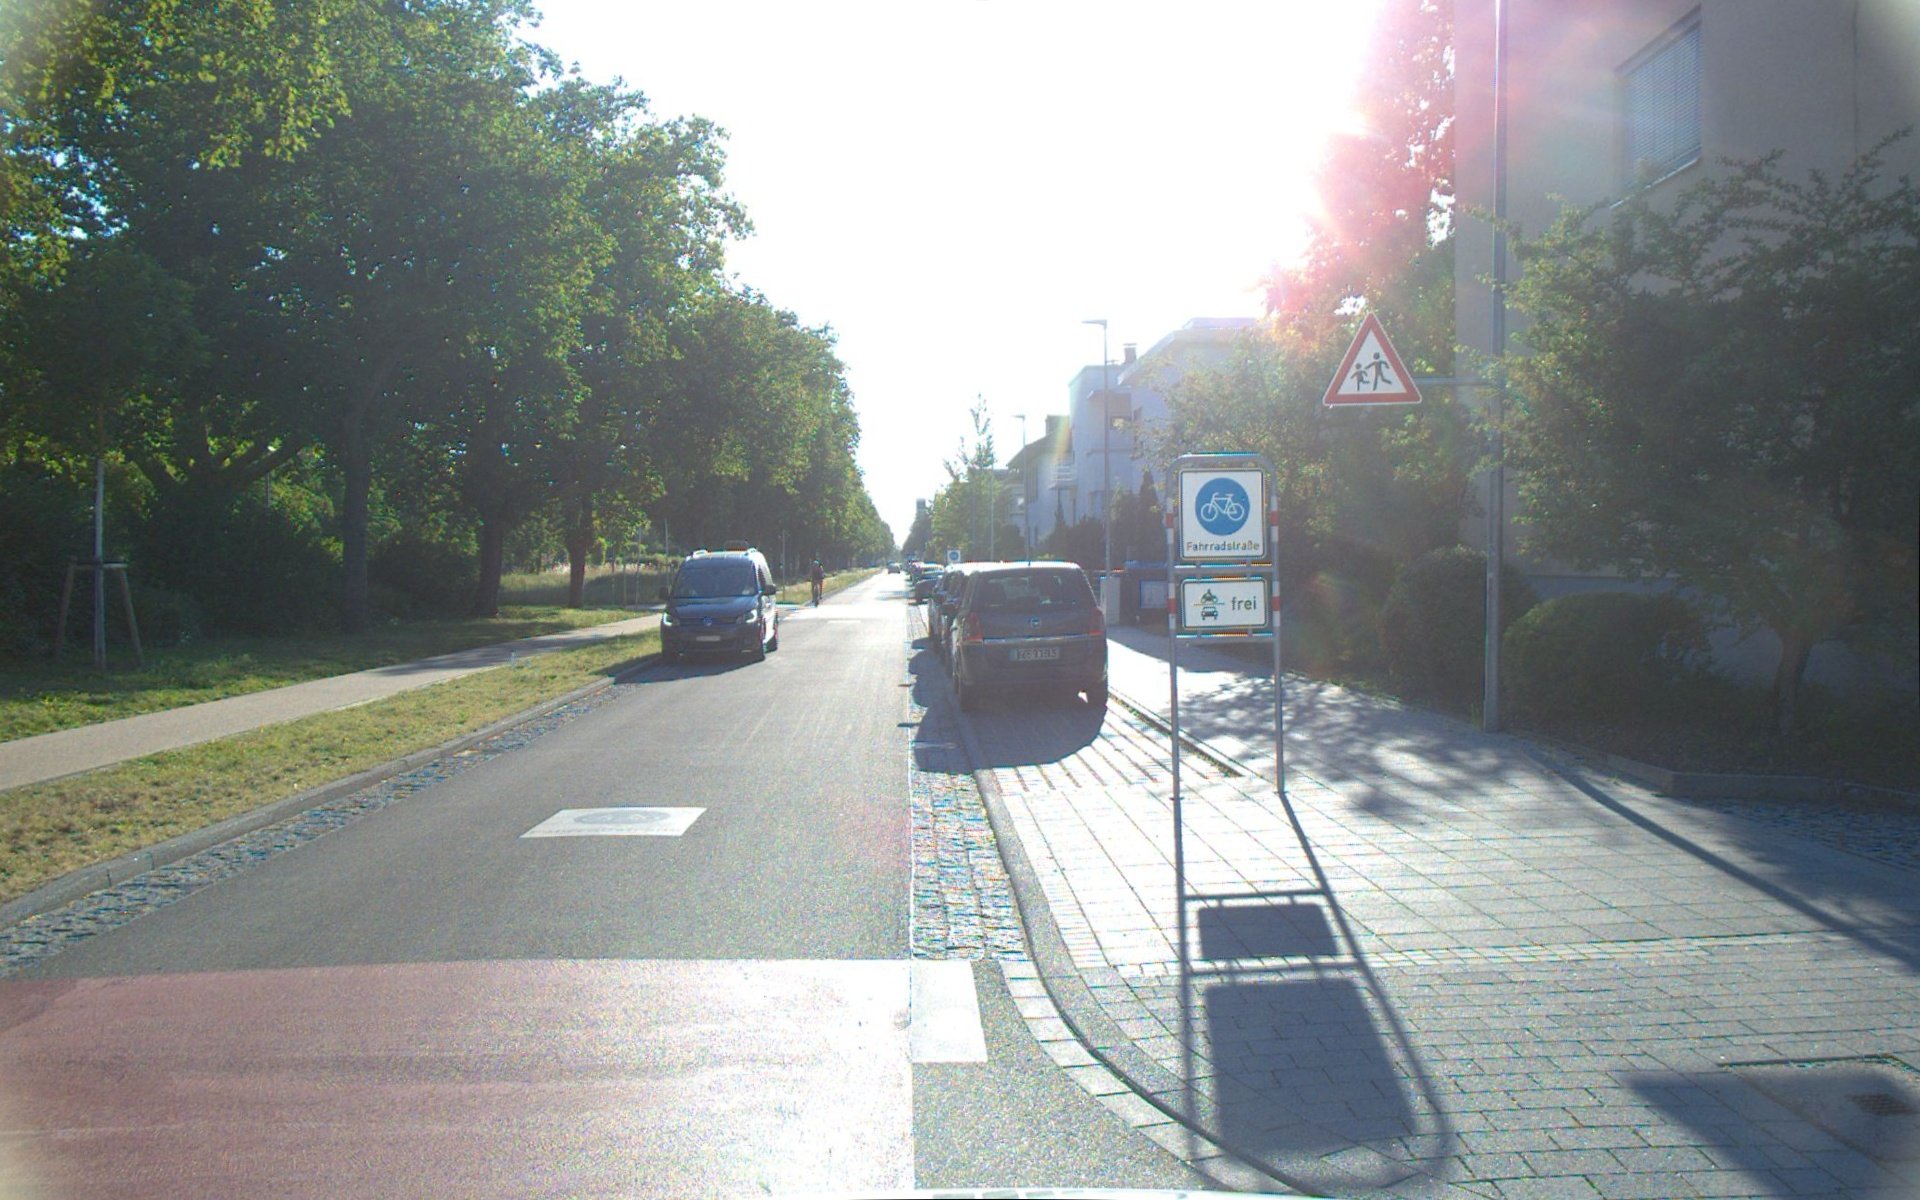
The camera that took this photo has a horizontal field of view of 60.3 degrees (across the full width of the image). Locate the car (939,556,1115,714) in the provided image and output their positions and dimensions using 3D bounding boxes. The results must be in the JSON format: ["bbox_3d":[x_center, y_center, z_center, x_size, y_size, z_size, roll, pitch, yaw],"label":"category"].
[{"bbox_3d":[0.705,0.329,20.022,1.676,1.638,4.166,-3,1,-3],"label":"car"}]

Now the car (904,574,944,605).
[{"bbox_3d":[-1.622,-0.474,73.444,1.739,1.311,4.271,0,1,-2],"label":"car"}]

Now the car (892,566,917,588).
[{"bbox_3d":[-4.038,-1.673,120.703,1.702,1.474,4.195,-2,1,-3],"label":"car"}]

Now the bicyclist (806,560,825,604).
[{"bbox_3d":[-5.684,-0.691,65.083,0.668,1.702,1.172,-1,0,-2],"label":"bicyclist"}]

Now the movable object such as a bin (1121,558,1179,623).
[{"bbox_3d":[4.348,-0.224,37.954,1.212,1.457,1.123,0,1,0],"label":"movable object such as a bin"}]

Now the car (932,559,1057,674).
[{"bbox_3d":[0.456,0.191,25.671,1.645,1.582,4.143,-2,1,-2],"label":"car"}]

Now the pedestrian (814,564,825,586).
[{"bbox_3d":[-10.543,-1.851,124.058,0.767,1.642,0.952,0,1,1],"label":"pedestrian"}]

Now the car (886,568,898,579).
[{"bbox_3d":[-9.760,-3.749,237.231,1.619,1.568,3.265,1,1,-2],"label":"car"}]

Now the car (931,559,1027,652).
[{"bbox_3d":[0.299,0.047,31.259,1.644,1.582,4.130,-2,1,-1],"label":"car"}]

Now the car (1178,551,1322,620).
[{"bbox_3d":[7.175,-0.371,41.150,3.419,1.670,1.644,0,1,6],"label":"car"}]

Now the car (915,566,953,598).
[{"bbox_3d":[-1.362,-0.944,84.625,1.710,1.499,3.920,-3,1,-3],"label":"car"}]

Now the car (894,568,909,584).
[{"bbox_3d":[-6.016,-2.463,171.423,1.468,1.594,3.266,-1,1,-1],"label":"car"}]

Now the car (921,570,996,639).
[{"bbox_3d":[-0.084,0.056,37.283,1.532,1.414,4.373,-2,1,-2],"label":"car"}]

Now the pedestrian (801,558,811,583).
[{"bbox_3d":[-11.541,-2.231,124.088,0.611,1.863,0.886,0,1,1],"label":"pedestrian"}]

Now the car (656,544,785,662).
[{"bbox_3d":[-4.169,0.021,29.440,1.807,1.879,4.570,-2,1,-3],"label":"car"}]

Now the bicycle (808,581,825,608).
[{"bbox_3d":[-5.650,-0.219,65.144,0.545,1.050,1.914,-1,1,-2],"label":"bicycle"}]
